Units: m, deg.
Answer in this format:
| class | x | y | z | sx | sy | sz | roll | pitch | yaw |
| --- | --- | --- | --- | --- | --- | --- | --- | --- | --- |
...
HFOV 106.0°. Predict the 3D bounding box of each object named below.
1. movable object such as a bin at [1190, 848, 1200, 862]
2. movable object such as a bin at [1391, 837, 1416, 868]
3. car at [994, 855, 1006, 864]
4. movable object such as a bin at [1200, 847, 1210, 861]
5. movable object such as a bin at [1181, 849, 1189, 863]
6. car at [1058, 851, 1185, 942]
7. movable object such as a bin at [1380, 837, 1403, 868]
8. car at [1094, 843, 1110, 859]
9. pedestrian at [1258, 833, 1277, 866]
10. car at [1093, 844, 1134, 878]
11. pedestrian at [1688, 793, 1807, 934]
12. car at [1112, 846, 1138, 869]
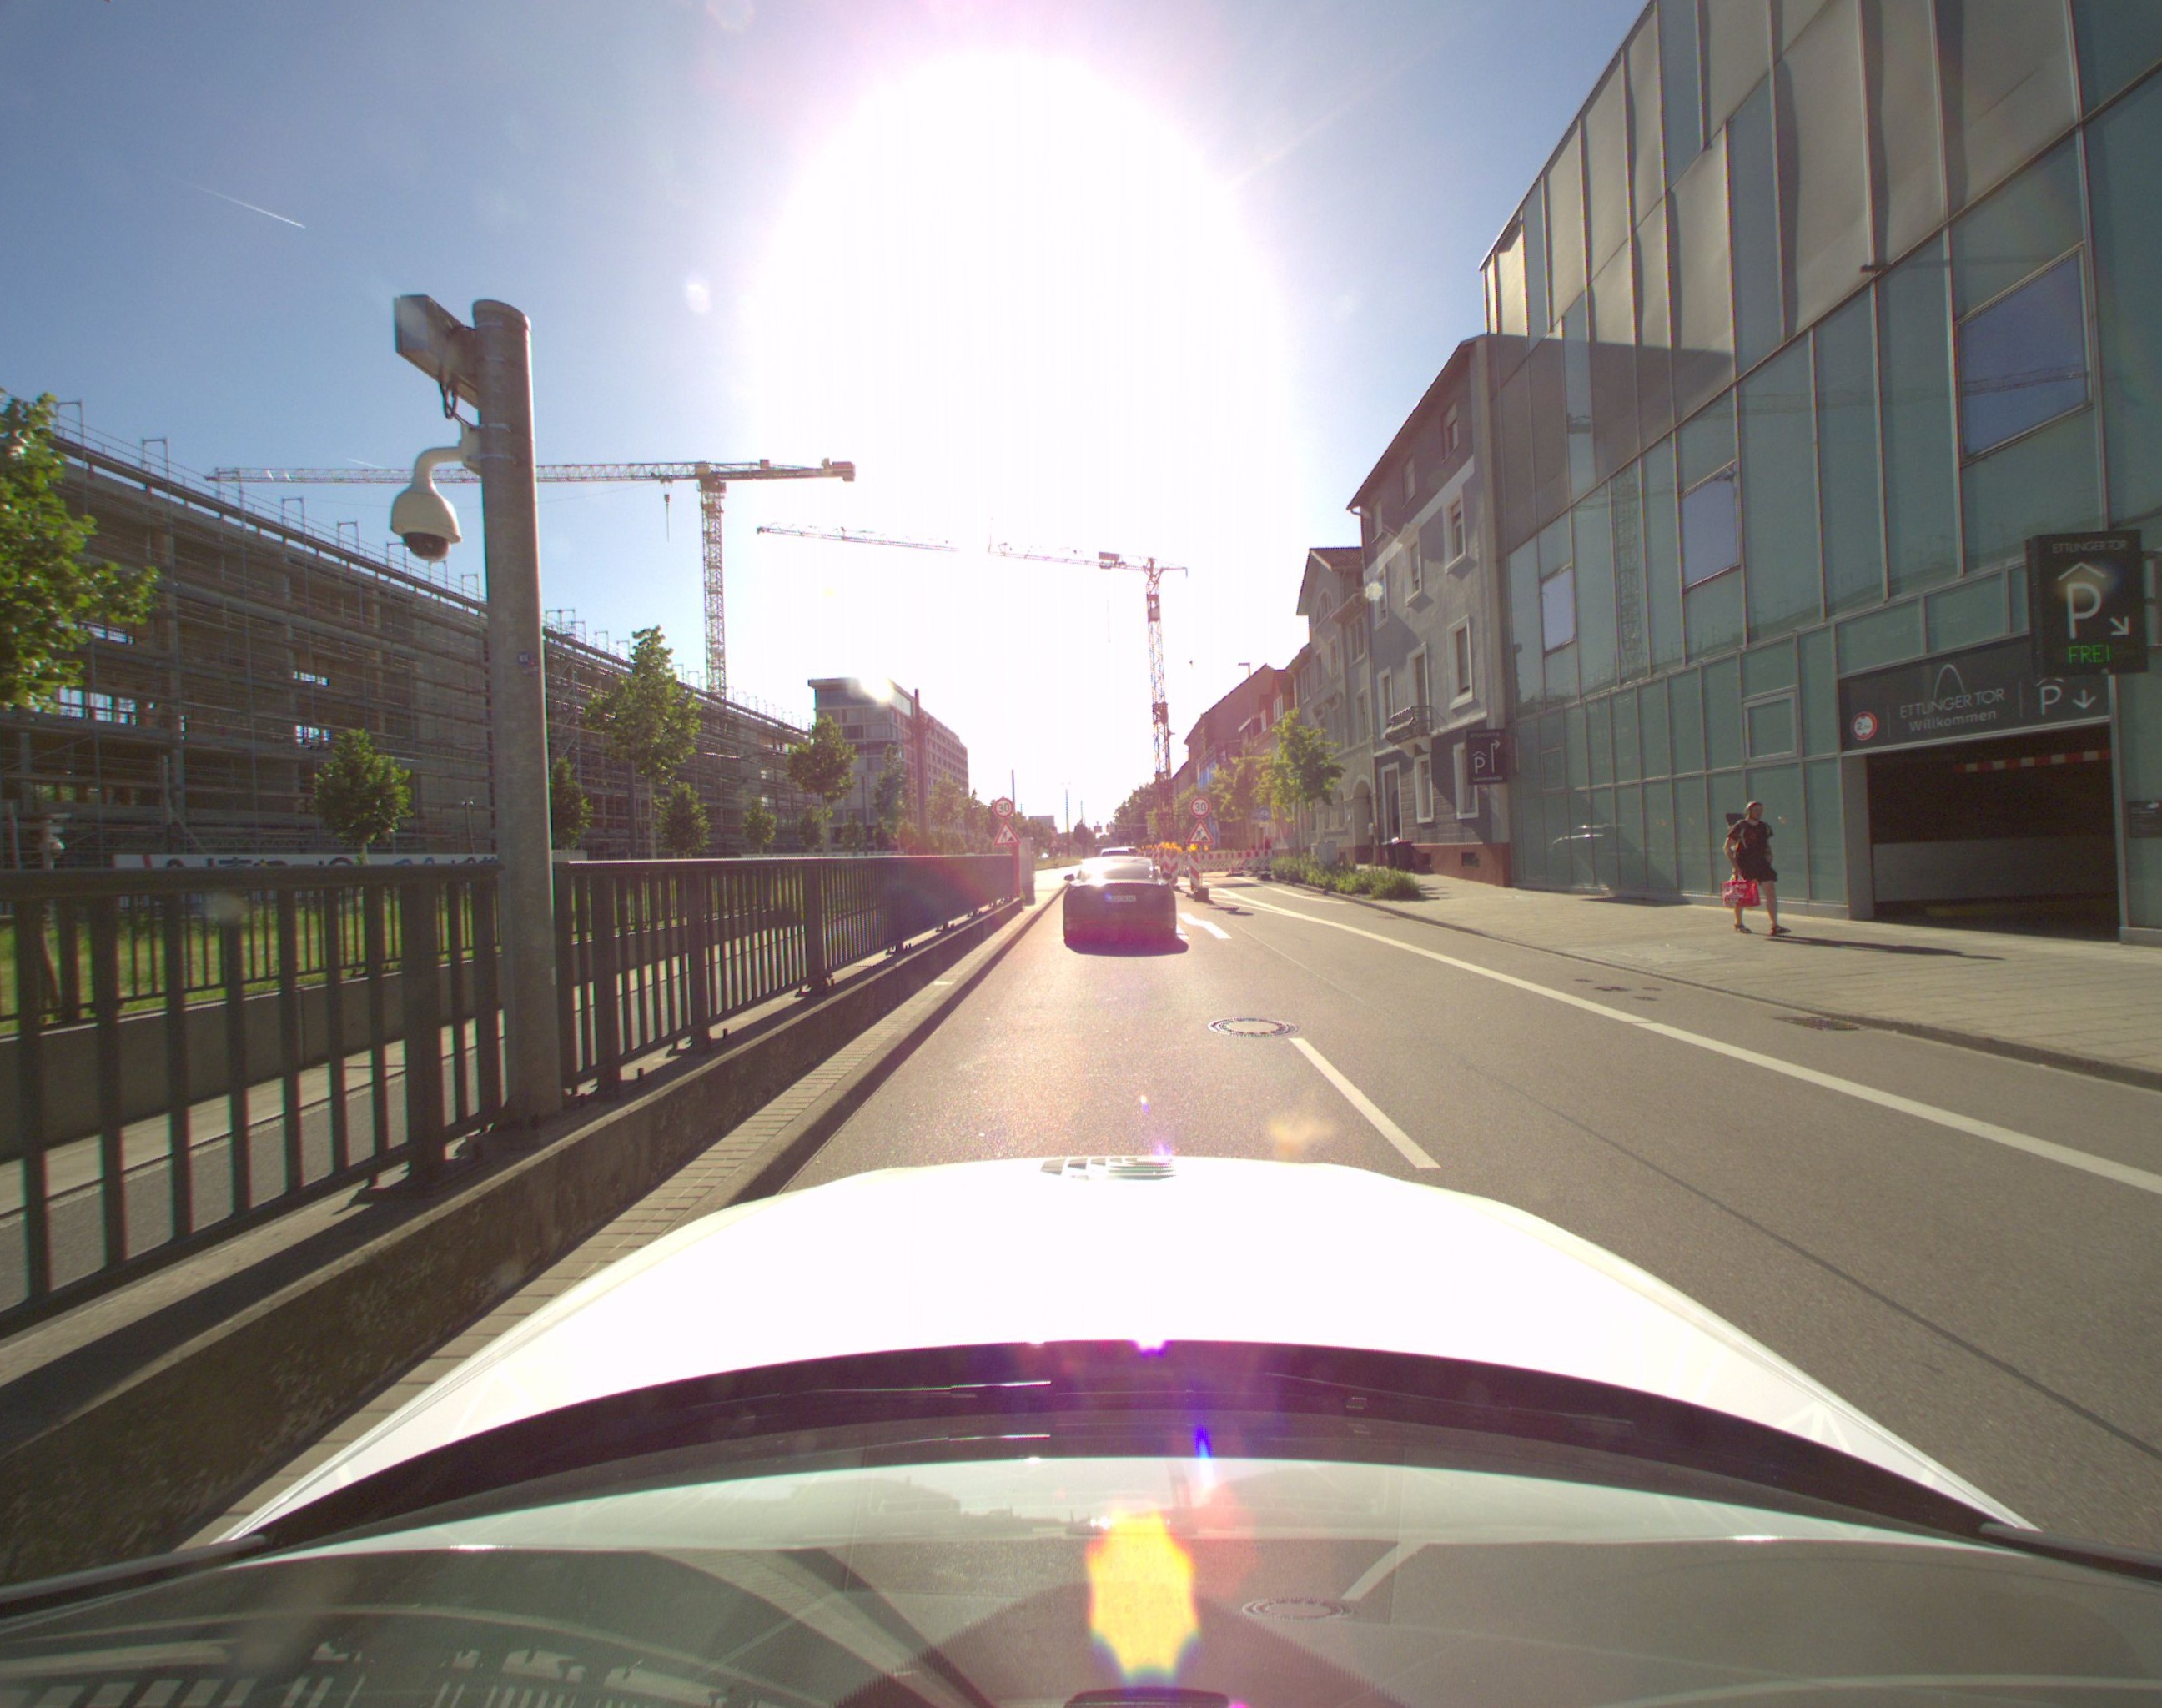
| class | x | y | z | sx | sy | sz | roll | pitch | yaw |
| --- | --- | --- | --- | --- | --- | --- | --- | --- | --- |
| movable object such as a bin | 8.996 | 0.065 | 64.407 | 0.593 | 1.057 | 0.731 | -6 | 0 | 3 |
| movable object such as a bin | 11.722 | -0.046 | 29.621 | 0.600 | 1.082 | 0.704 | -2 | 0 | 3 |
| car | -16.890 | 1.105 | 170.380 | 1.783 | 1.651 | 4.003 | -3 | 0 | 3 |
| movable object such as a bin | 9.791 | -0.004 | 64.302 | 0.586 | 1.057 | 0.783 | -7 | 0 | -2 |
| movable object such as a bin | 8.181 | 0.155 | 64.185 | 0.585 | 1.058 | 0.731 | -1 | 0 | 3 |
| car | 0.735 | 0.690 | 15.555 | 2.043 | 1.444 | 4.526 | -1 | 0 | 2 |
| movable object such as a bin | 11.594 | -0.066 | 30.443 | 0.586 | 1.108 | 0.704 | -2 | 0 | 3 |
| car | 2.976 | -0.425 | 117.938 | 2.210 | 2.267 | 4.485 | -1 | 0 | 1 |
| pedestrian | 11.112 | -0.265 | 48.533 | 0.793 | 1.928 | 0.767 | -2 | 0 | -12 |
| car | 1.476 | 0.283 | 37.470 | 1.741 | 1.427 | 4.840 | -2 | 0 | 2 |
| pedestrian | 9.738 | 0.128 | 11.937 | 0.872 | 1.924 | 0.896 | -5 | 0 | 1 |
| car | 3.121 | 0.246 | 58.408 | 1.742 | 1.527 | 4.007 | -1 | 0 | 3 |
